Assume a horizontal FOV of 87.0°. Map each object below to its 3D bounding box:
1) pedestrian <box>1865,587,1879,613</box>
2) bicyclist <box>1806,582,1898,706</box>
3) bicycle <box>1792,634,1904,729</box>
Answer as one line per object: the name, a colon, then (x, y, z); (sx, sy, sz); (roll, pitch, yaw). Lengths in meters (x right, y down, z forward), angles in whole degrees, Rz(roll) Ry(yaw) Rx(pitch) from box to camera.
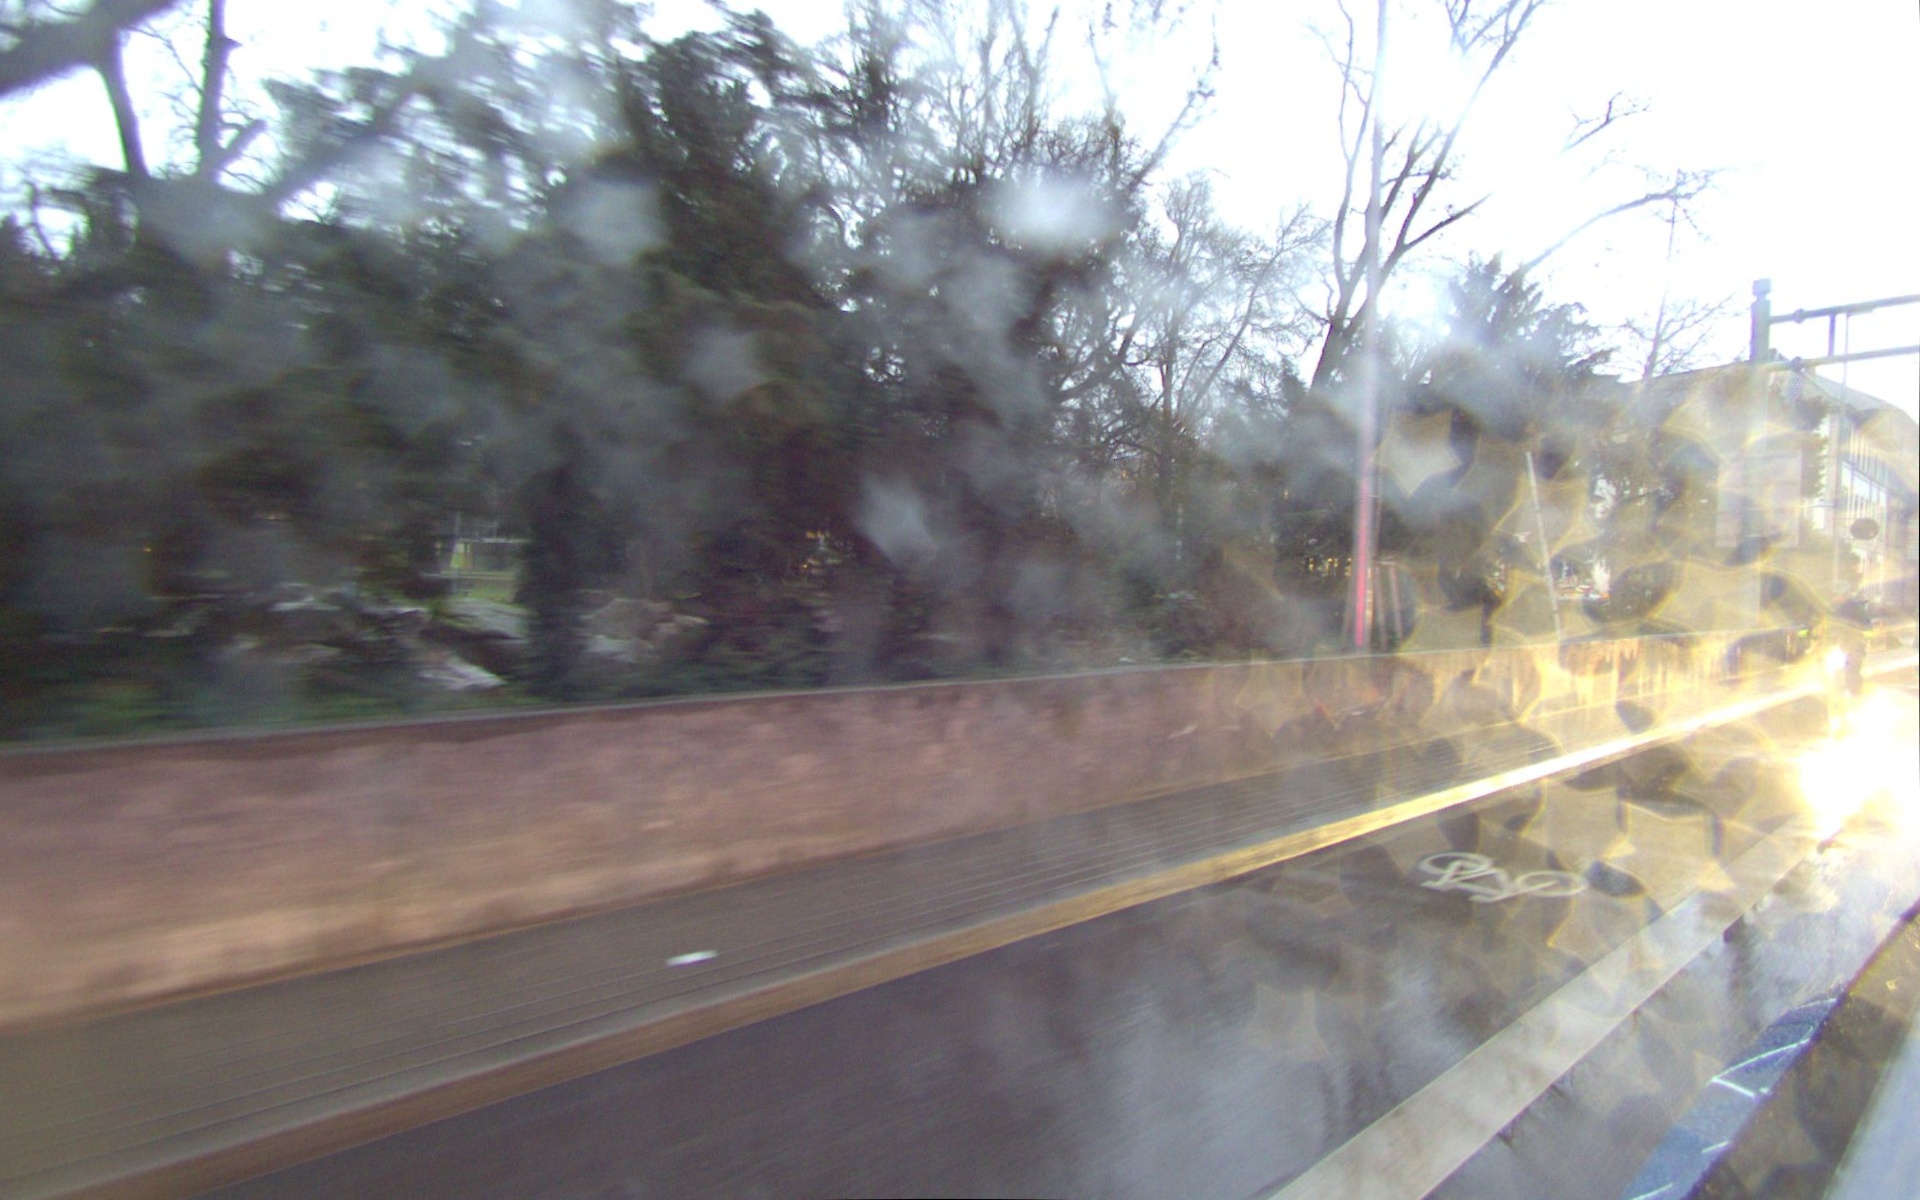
pedestrian: (54.663, -0.002, 60.652); (0.577, 1.529, 0.520); (0, 2, -41)
bicyclist: (10.715, 0.501, 12.155); (0.874, 1.406, 0.647); (0, 1, -38)
bicycle: (10.712, 0.936, 12.183); (2.009, 0.978, 0.647); (0, 2, -39)
